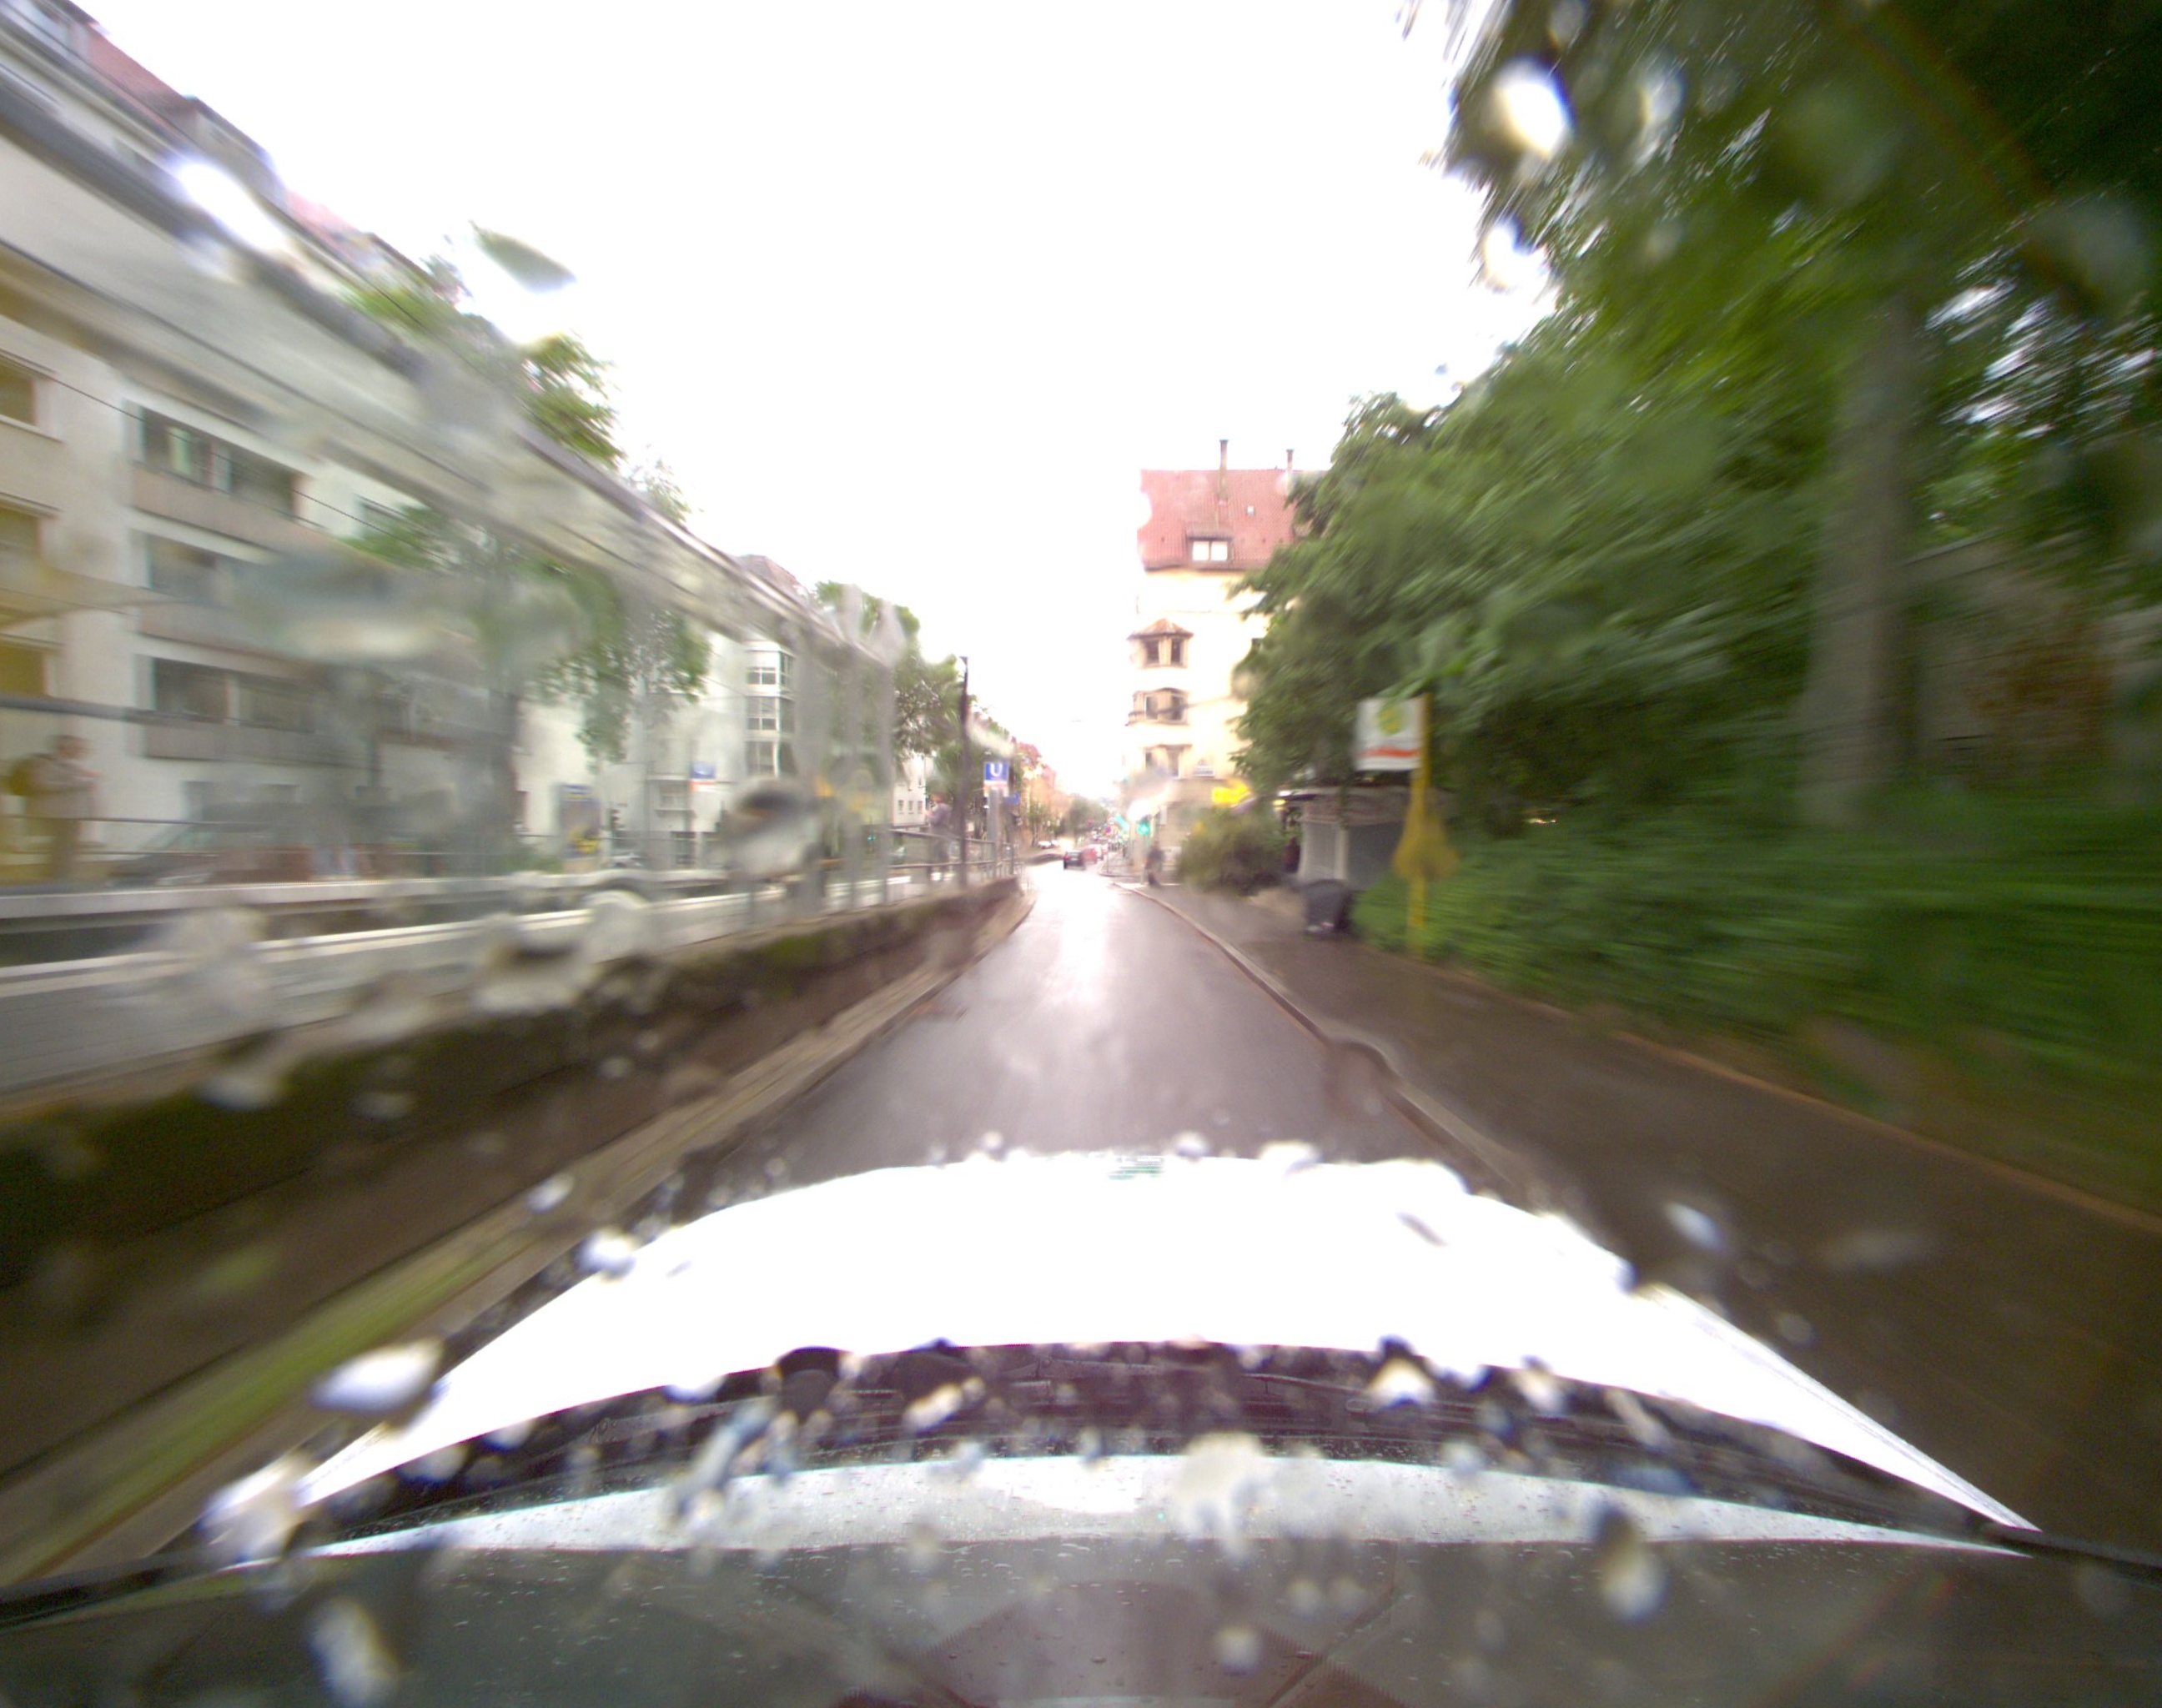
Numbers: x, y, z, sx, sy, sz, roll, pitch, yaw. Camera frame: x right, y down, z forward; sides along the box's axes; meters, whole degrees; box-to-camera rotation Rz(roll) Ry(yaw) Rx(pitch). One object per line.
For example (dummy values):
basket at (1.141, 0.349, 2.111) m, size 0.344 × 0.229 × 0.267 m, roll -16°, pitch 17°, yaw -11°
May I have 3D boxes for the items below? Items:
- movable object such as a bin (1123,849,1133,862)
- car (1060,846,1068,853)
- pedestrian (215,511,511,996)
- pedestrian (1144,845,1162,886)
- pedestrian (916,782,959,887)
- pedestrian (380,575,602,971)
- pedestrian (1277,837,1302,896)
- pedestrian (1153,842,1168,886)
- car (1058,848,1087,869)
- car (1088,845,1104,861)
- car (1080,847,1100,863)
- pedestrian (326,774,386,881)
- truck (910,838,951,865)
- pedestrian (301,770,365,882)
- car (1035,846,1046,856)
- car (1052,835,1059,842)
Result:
movable object such as a bin at (6.086, 0.189, 105.476) m, size 1.164 × 1.655 × 1.308 m, roll -1°, pitch 0°, yaw -1°
car at (-4.454, -1.193, 211.786) m, size 1.986 × 2.013 × 4.348 m, roll 0°, pitch 0°, yaw 1°
pedestrian at (-3.014, -0.389, 3.491) m, size 0.587 × 1.865 × 0.711 m, roll 1°, pitch 0°, yaw 1°
pedestrian at (2.952, 0.468, 33.500) m, size 0.693 × 1.695 × 0.555 m, roll 1°, pitch 0°, yaw 0°
pedestrian at (-2.553, -0.342, 14.521) m, size 0.587 × 1.807 × 0.661 m, roll 2°, pitch -1°, yaw 1°
pedestrian at (-3.017, -0.386, 4.235) m, size 0.587 × 1.881 × 0.711 m, roll 1°, pitch 0°, yaw 1°
pedestrian at (6.329, 0.365, 24.740) m, size 0.600 × 1.745 × 0.614 m, roll 2°, pitch 0°, yaw 1°
pedestrian at (3.313, 0.415, 34.120) m, size 0.552 × 1.813 × 0.650 m, roll 1°, pitch 0°, yaw 0°
car at (-0.571, 0.299, 57.535) m, size 1.845 × 1.473 × 4.001 m, roll 0°, pitch 0°, yaw 1°
car at (1.805, -0.107, 97.873) m, size 1.942 × 1.793 × 4.144 m, roll 1°, pitch 0°, yaw 1°
car at (0.896, 0.144, 78.124) m, size 1.845 × 1.473 × 4.000 m, roll 1°, pitch 0°, yaw 1°
pedestrian at (-12.100, -0.426, 13.606) m, size 0.480 × 1.741 × 0.564 m, roll -1°, pitch -1°, yaw 2°
truck at (-14.049, -0.207, 76.487) m, size 2.041 × 2.393 × 6.331 m, roll 0°, pitch 0°, yaw 6°
pedestrian at (-11.946, -0.435, 13.011) m, size 0.480 × 1.741 × 0.564 m, roll -1°, pitch -1°, yaw 2°
car at (-8.551, -0.703, 173.913) m, size 1.986 × 2.014 × 4.347 m, roll -1°, pitch -1°, yaw 1°
car at (-8.141, -4.959, 256.853) m, size 1.986 × 2.013 × 4.001 m, roll 0°, pitch 0°, yaw 1°
